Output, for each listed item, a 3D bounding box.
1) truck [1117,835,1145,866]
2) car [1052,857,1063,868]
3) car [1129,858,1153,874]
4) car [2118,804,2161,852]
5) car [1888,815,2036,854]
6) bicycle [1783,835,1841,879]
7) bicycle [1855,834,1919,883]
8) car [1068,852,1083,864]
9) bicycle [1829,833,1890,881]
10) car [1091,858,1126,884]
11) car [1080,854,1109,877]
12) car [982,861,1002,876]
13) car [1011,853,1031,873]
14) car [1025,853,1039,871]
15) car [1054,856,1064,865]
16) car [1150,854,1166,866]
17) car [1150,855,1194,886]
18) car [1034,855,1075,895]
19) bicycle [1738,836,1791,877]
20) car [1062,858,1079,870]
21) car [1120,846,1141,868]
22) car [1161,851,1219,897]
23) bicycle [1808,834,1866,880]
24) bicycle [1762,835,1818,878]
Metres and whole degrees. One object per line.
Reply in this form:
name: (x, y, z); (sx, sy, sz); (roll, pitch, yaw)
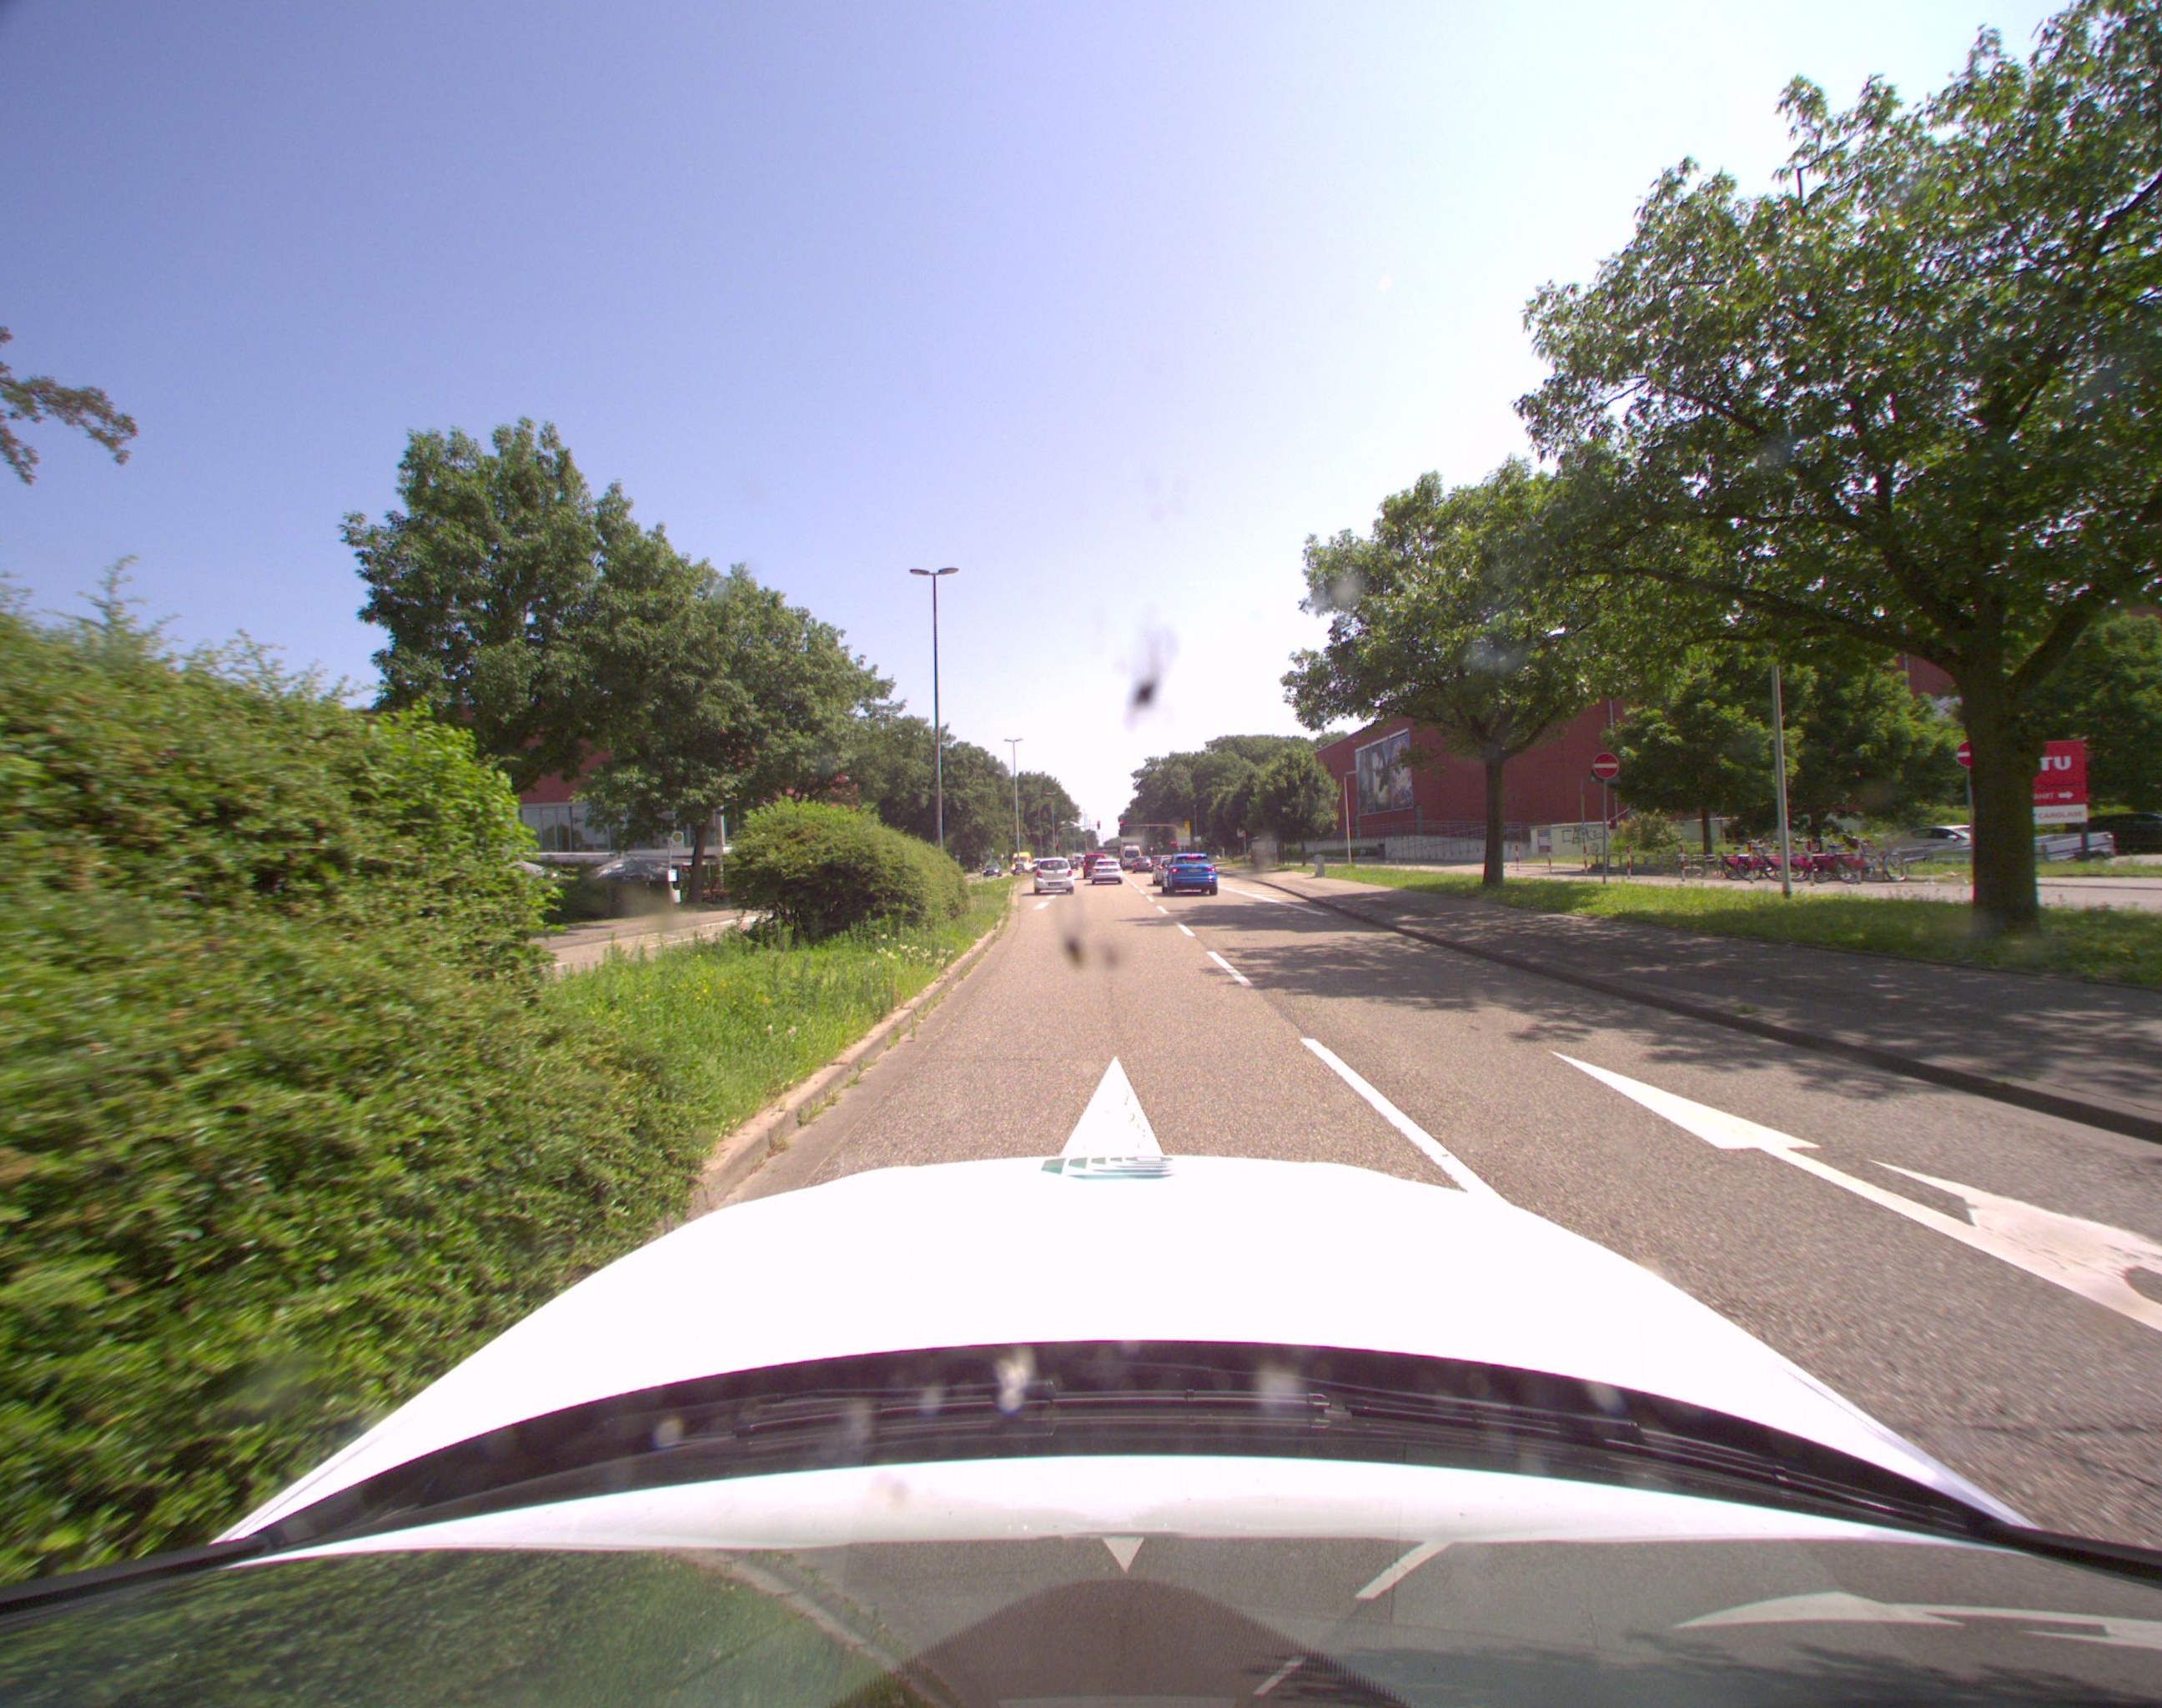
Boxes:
truck: (6.108, -0.421, 99.843); (2.921, 3.502, 9.160); (-3, 0, 1)
car: (-3.204, 1.129, 110.788); (1.364, 1.308, 2.692); (-3, 0, -1)
car: (5.393, 1.066, 73.938); (1.859, 1.310, 4.001); (-4, 0, 1)
car: (39.697, -0.992, 28.959); (1.404, 1.697, 3.192); (-3, 0, -6)
car: (32.551, -0.671, 30.253); (1.406, 1.290, 3.874); (-3, 0, 3)
bicycle: (18.959, 0.081, 21.128); (1.084, 1.085, 0.407); (-3, 0, 1)
bicycle: (18.912, 0.097, 19.112); (1.084, 1.085, 0.347); (-3, 0, 1)
car: (-0.965, 0.659, 138.137); (1.991, 2.013, 3.992); (-3, 0, -6)
bicycle: (18.845, 0.067, 19.716); (1.084, 1.085, 0.347); (-3, 0, 1)
car: (1.562, 0.978, 46.623); (1.878, 1.354, 4.001); (-2, -1, 2)
car: (0.954, 0.815, 58.901); (1.790, 1.523, 3.996); (-2, -1, -3)
car: (-10.256, 1.630, 94.377); (1.704, 1.662, 4.000); (-2, -1, 1)
car: (-6.866, 1.038, 93.759); (1.772, 2.282, 4.754); (-2, -1, 2)
car: (-6.615, 1.082, 109.243); (1.775, 2.282, 3.995); (-2, -1, -3)
car: (-4.375, 1.234, 160.948); (1.589, 1.582, 3.772); (-3, 0, 1)
car: (9.747, 0.716, 103.266); (1.627, 1.464, 4.001); (-3, 0, 1)
car: (4.701, 0.850, 42.619); (1.859, 1.473, 4.000); (-2, -1, 1)
car: (-1.150, 0.876, 34.965); (1.634, 1.552, 3.321); (-2, -1, -3)
bicycle: (18.974, 0.070, 22.621); (1.084, 1.085, 0.407); (-3, 0, 1)
car: (-1.278, 1.261, 104.563); (1.986, 1.288, 4.001); (-3, 0, 1)
car: (5.390, 0.326, 89.271); (1.986, 2.255, 4.001); (-3, 0, 1)
car: (4.155, 0.758, 31.733); (1.802, 1.593, 4.351); (-2, -1, 2)
bicycle: (18.971, 0.072, 20.440); (1.084, 1.085, 0.347); (-3, 0, 1)
bicycle: (18.979, 0.059, 21.811); (1.084, 1.085, 0.407); (-3, 0, 1)
